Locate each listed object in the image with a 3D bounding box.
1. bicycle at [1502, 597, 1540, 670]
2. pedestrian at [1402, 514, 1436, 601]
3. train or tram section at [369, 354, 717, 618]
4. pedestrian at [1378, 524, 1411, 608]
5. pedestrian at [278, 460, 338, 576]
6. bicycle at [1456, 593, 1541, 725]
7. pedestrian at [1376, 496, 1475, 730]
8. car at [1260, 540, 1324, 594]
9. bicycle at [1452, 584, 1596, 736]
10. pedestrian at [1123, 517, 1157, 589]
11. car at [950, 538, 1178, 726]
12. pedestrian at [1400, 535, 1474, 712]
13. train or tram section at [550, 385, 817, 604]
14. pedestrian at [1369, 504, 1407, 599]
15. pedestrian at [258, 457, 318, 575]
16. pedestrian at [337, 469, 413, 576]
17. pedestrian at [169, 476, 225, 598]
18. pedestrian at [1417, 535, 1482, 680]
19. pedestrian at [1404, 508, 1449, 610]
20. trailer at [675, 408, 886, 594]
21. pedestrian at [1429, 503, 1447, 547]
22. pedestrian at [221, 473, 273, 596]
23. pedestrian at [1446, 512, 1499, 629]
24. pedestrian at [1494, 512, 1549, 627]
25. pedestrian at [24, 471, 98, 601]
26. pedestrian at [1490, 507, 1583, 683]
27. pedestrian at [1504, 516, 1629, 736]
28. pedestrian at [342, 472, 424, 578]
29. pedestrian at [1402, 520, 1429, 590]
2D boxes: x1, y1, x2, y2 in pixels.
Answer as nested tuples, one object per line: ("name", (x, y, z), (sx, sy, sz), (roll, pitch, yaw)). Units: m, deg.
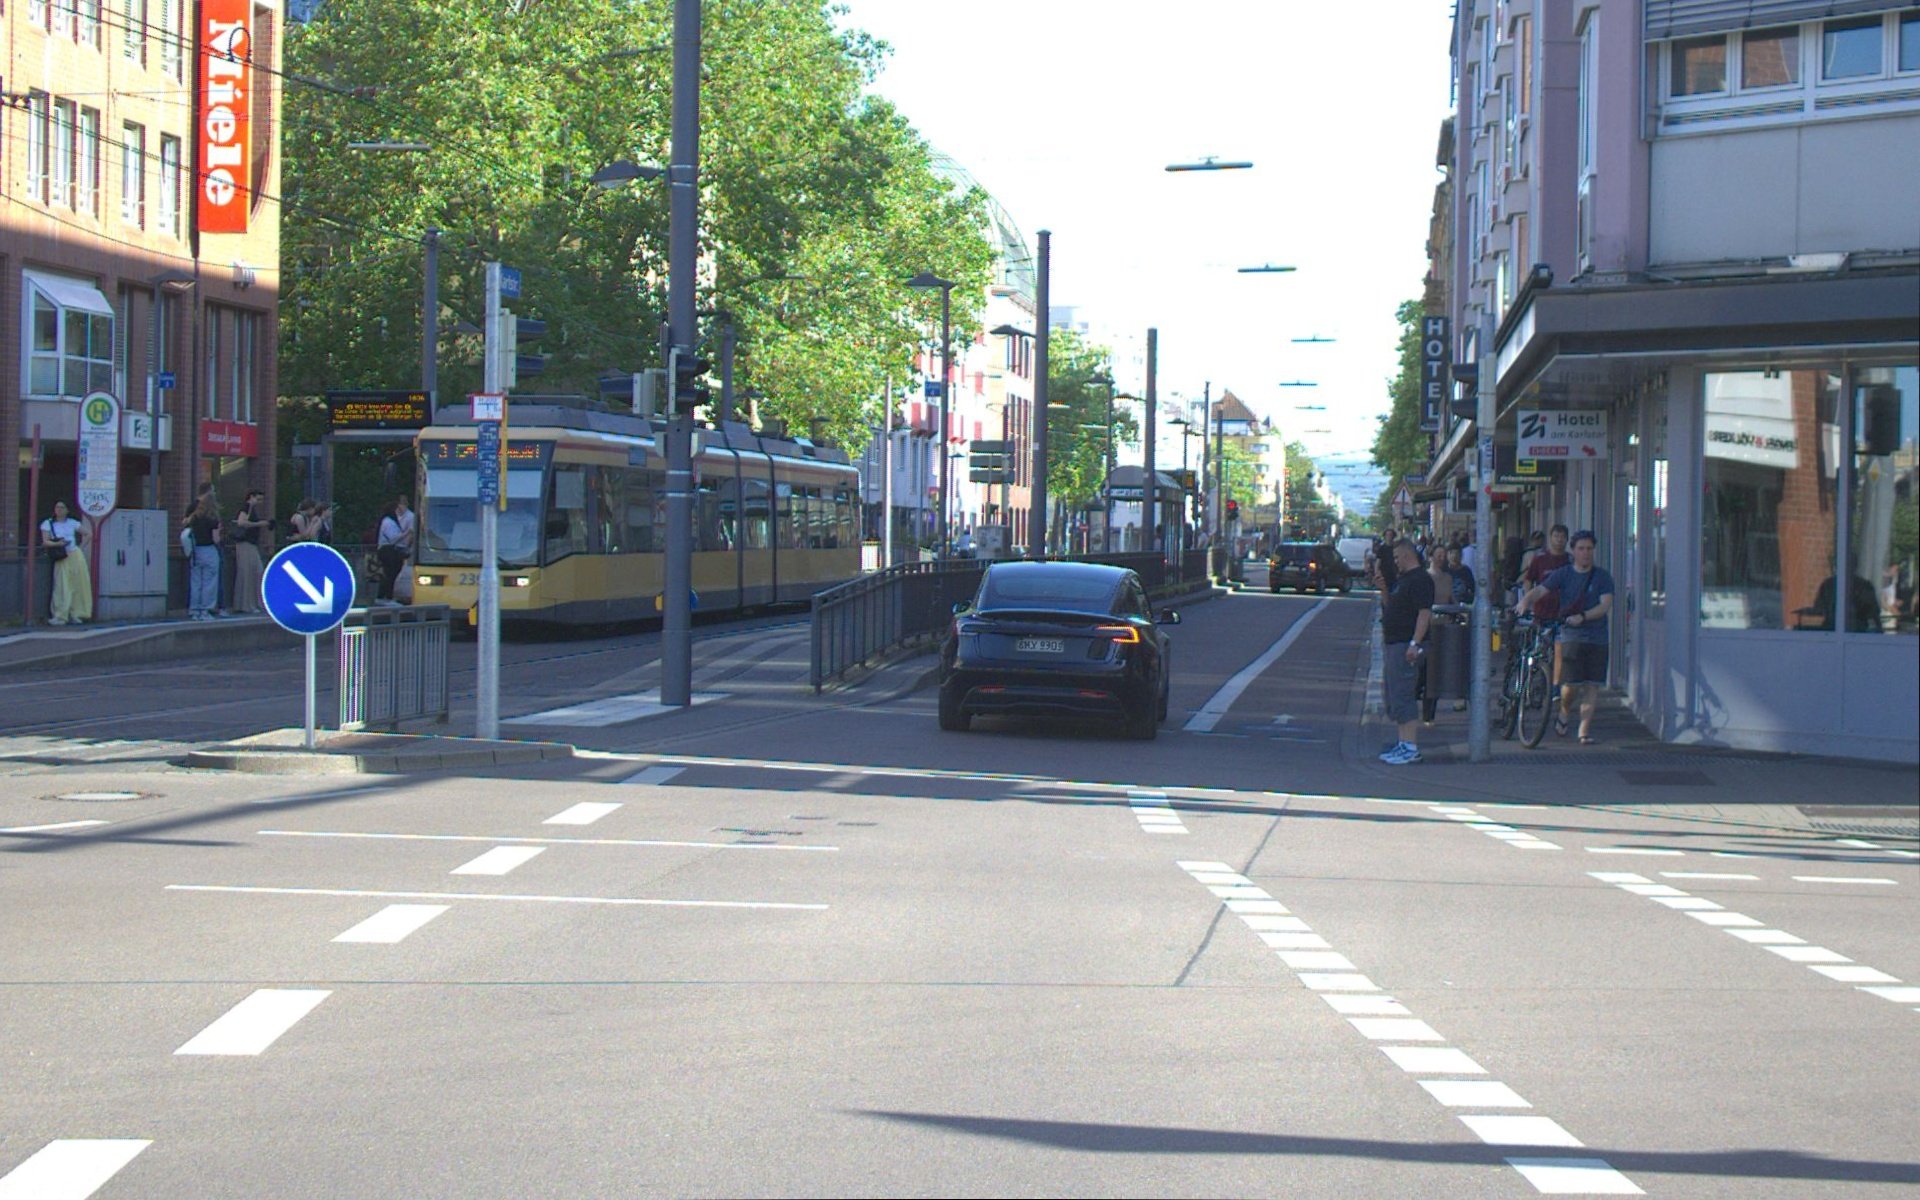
("bicycle", (6.906, 0.410, 42.352), (0.414, 0.854, 1.237), (2, 1, 9))
("pedestrian", (10.150, -0.946, 76.059), (0.697, 1.890, 0.749), (2, 1, 8))
("train or tram section", (-6.043, -1.632, 51.802), (2.730, 3.530, 10.084), (2, 1, 7))
("pedestrian", (9.890, -0.772, 78.247), (0.697, 1.890, 0.749), (2, 1, 8))
("pedestrian", (-9.753, -1.223, 51.422), (0.636, 1.715, 0.608), (2, 1, 16))
("bicycle", (4.772, 0.499, 30.370), (0.488, 1.098, 2.123), (2, 1, 15))
("pedestrian", (3.624, 0.088, 26.829), (0.626, 1.776, 0.917), (2, 1, 3))
("car", (10.714, -1.081, 110.716), (1.738, 1.659, 3.707), (2, 1, 10))
("bicycle", (4.608, 0.474, 28.209), (0.488, 1.157, 1.974), (2, 1, -10))
("pedestrian", (4.496, -1.171, 85.676), (0.757, 1.763, 0.699), (2, 1, 6))
("car", (0.914, 0.233, 29.910), (1.790, 1.446, 3.939), (3, 1, 2))
("pedestrian", (4.269, 0.204, 30.789), (0.471, 1.557, 0.545), (2, 1, -9))
("train or tram section", (-4.786, -1.823, 61.829), (2.714, 3.534, 10.166), (2, 1, 7))
("pedestrian", (8.621, -0.978, 69.312), (0.697, 1.890, 0.749), (2, 1, 8))
("pedestrian", (-9.930, -1.236, 50.825), (0.636, 1.715, 0.585), (2, 1, 16))
("pedestrian", (-9.017, -1.194, 53.004), (0.999, 1.619, 0.848), (2, 1, -1))
("pedestrian", (-9.714, -0.800, 43.784), (0.583, 1.525, 0.637), (2, 1, -4))
("pedestrian", (5.752, 0.083, 40.430), (0.697, 1.672, 0.749), (2, 1, 8))
("pedestrian", (7.811, -0.689, 57.539), (0.697, 1.672, 0.749), (2, 1, 8))
("trailer", (-3.601, -1.996, 71.498), (2.714, 3.534, 9.356), (2, 1, 7))
("pedestrian", (20.432, -3.197, 146.918), (0.697, 1.872, 0.749), (2, 1, 8))
("pedestrian", (-10.070, -0.925, 48.585), (0.635, 1.715, 0.585), (2, 1, -8))
("pedestrian", (7.459, -0.431, 50.034), (0.697, 1.672, 0.749), (2, 1, 8))
("pedestrian", (8.341, -0.454, 51.093), (0.747, 1.672, 0.699), (2, 1, 8))
("pedestrian", (-10.958, -0.784, 41.913), (0.636, 1.558, 0.585), (2, 1, 15))
("pedestrian", (5.646, -0.056, 33.679), (0.686, 1.682, 0.671), (2, 1, -7))
("pedestrian", (4.976, 0.203, 28.161), (0.915, 1.748, 0.839), (2, 1, 13))
("pedestrian", (-9.052, -1.172, 53.967), (1.105, 1.619, 0.848), (2, 1, -1))
("pedestrian", (12.550, -1.245, 94.709), (0.697, 1.890, 0.749), (2, 1, 8))
